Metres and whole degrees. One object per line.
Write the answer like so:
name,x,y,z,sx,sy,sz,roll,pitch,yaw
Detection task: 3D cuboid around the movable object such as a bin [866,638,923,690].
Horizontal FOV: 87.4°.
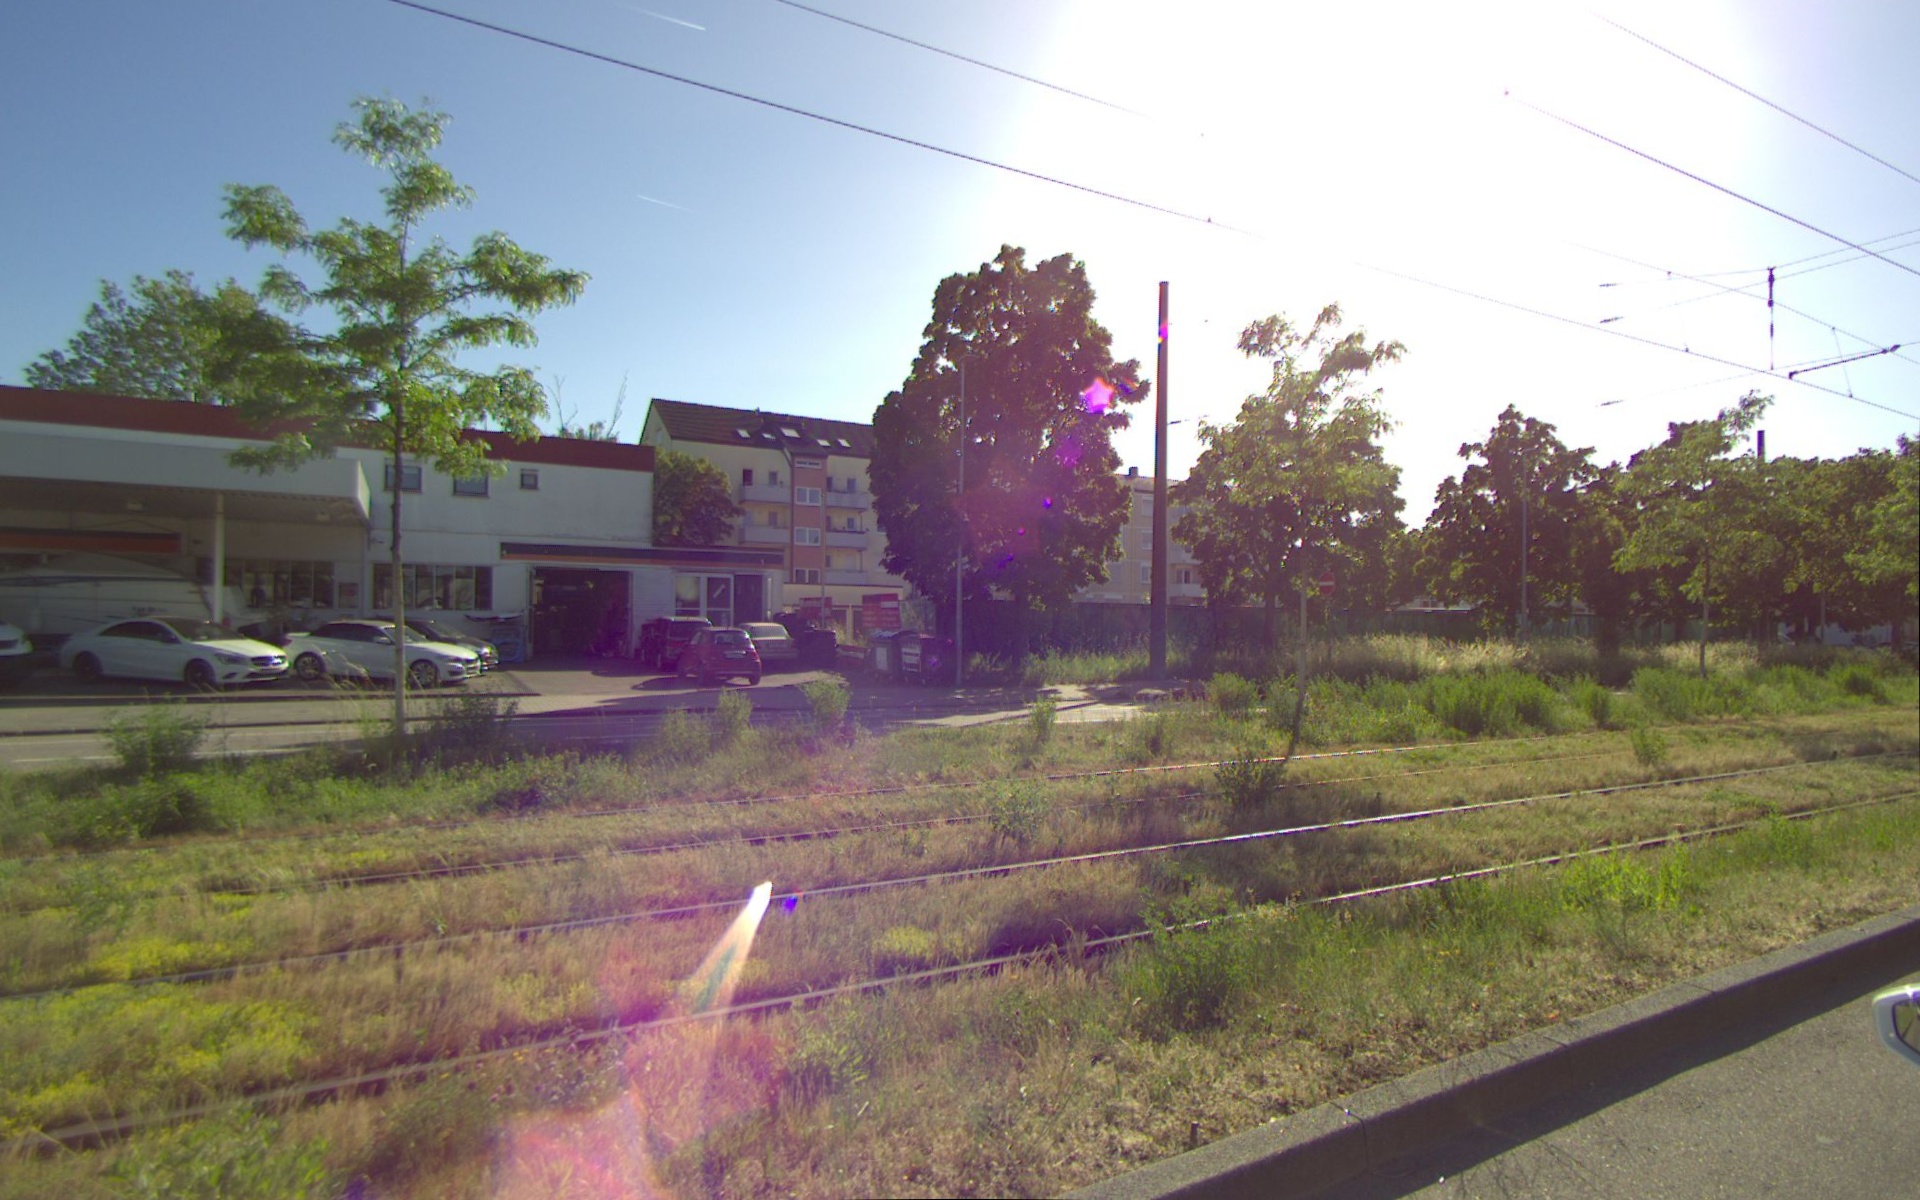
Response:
movable object such as a bin,-1.823,1.744,27.797,1.109,1.382,1.217,2,-2,-33

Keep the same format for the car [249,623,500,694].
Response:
car,-14.055,1.391,24.340,4.794,1.528,2.027,2,-2,-2

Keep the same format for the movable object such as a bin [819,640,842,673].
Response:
movable object such as a bin,-4.244,1.843,32.900,0.597,1.043,0.501,2,-1,-33

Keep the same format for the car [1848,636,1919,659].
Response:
car,62.720,3.174,67.689,1.831,1.422,3.969,4,-3,-30

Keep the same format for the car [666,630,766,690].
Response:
car,-6.835,1.617,27.954,1.624,1.532,3.680,1,-2,-32

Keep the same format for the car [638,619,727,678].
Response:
car,-8.849,1.487,31.863,1.687,1.655,3.723,1,0,-32

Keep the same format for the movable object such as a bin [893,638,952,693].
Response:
movable object such as a bin,-1.003,1.725,26.749,1.109,1.387,1.217,2,-1,-33

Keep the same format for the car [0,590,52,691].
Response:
car,-20.713,0.778,19.645,4.713,1.936,1.900,0,0,11

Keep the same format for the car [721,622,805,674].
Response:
car,-6.530,1.525,33.006,1.684,1.529,3.802,1,0,-28

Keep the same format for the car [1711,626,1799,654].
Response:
car,56.996,2.861,72.102,1.881,1.940,4.665,1,-1,-30

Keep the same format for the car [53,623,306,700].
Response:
car,-16.890,1.290,21.831,4.367,1.444,1.718,1,0,7

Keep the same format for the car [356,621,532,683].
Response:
car,-14.143,1.407,27.644,3.910,1.528,1.852,1,-2,8
